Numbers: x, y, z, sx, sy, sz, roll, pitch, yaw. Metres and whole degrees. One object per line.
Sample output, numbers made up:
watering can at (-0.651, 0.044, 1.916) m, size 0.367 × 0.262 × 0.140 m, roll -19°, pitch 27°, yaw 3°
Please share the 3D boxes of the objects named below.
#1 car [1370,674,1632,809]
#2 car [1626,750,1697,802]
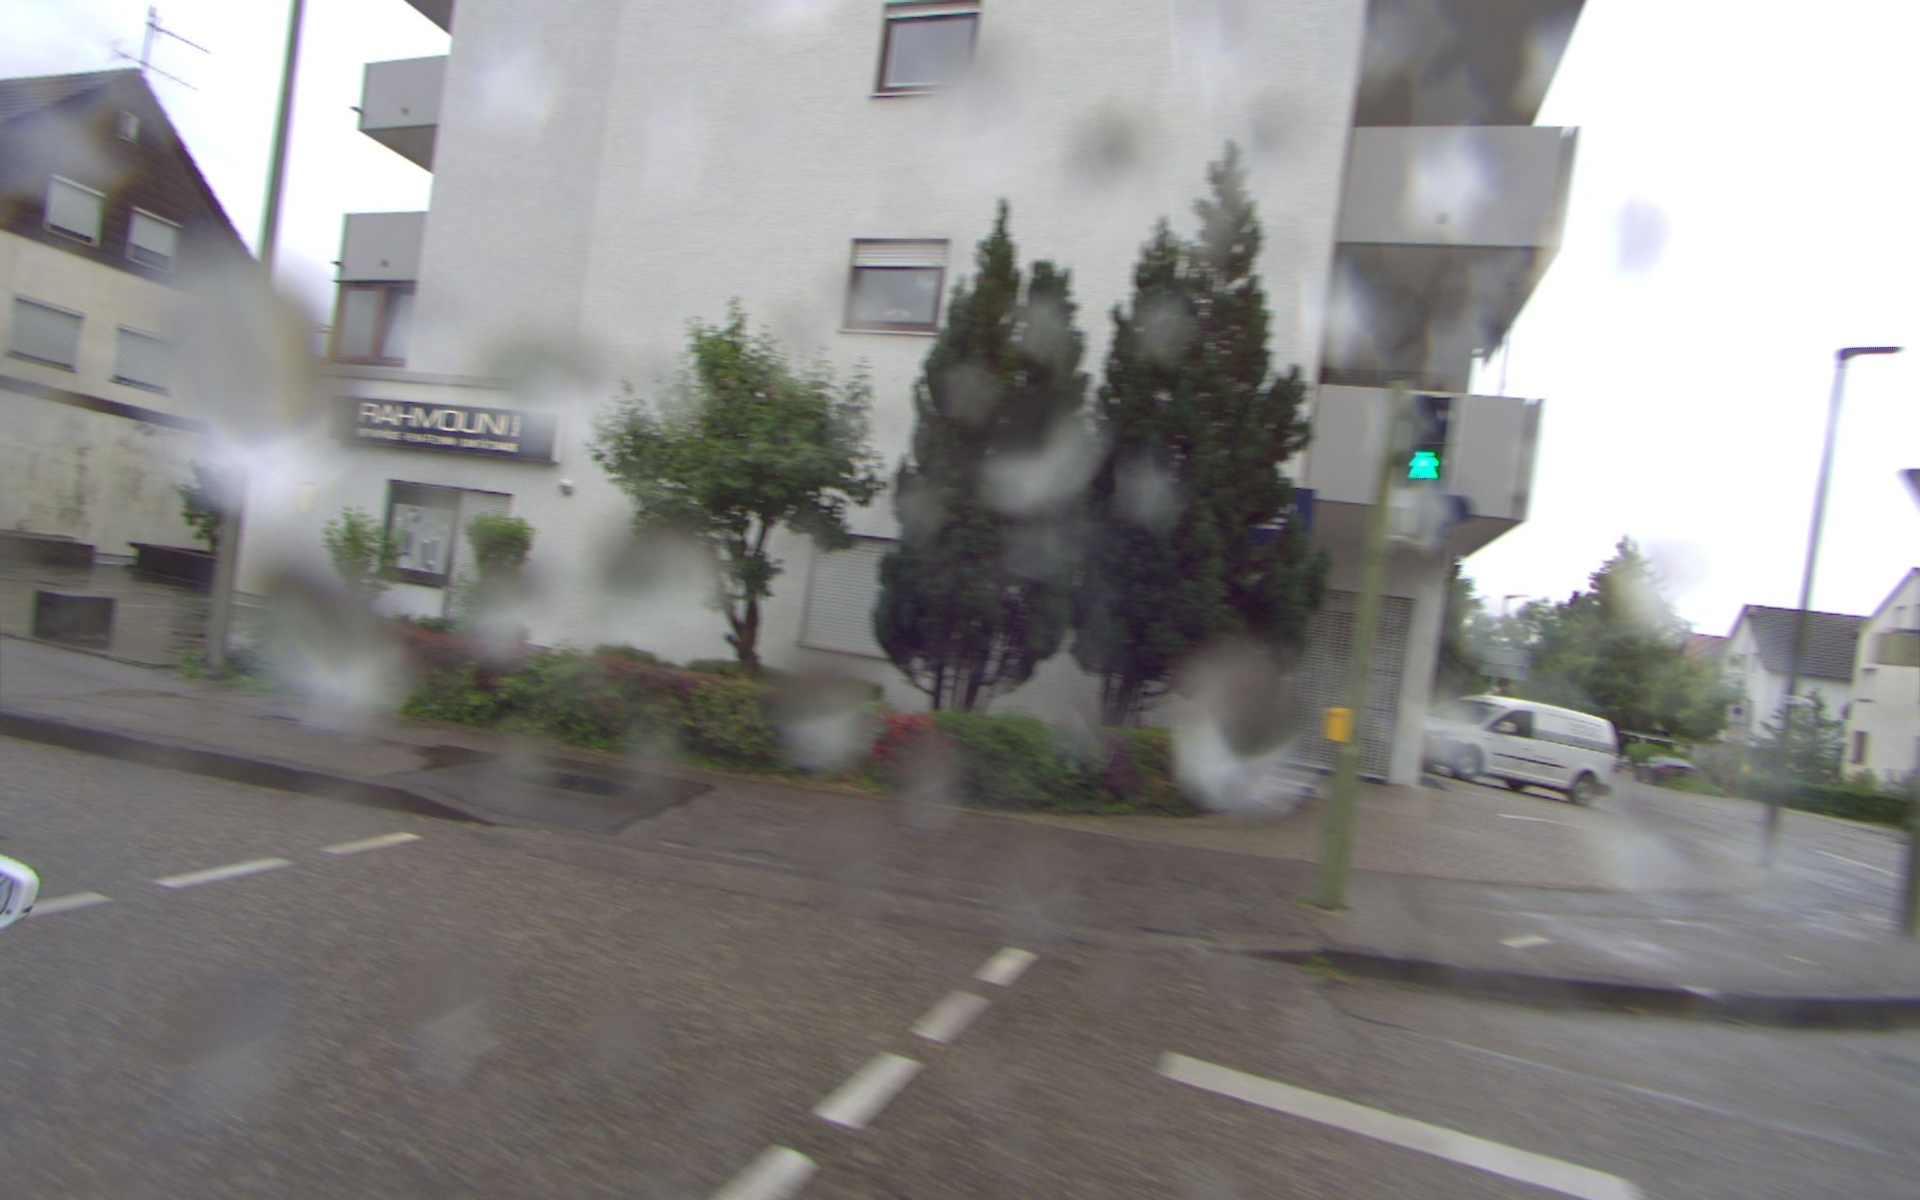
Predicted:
car at (10.895, 2.842, 20.274) m, size 4.666 × 1.796 × 1.768 m, roll 12°, pitch -4°, yaw -17°
car at (33.163, 8.290, 47.648) m, size 1.965 × 2.033 × 4.006 m, roll 6°, pitch -5°, yaw 26°
